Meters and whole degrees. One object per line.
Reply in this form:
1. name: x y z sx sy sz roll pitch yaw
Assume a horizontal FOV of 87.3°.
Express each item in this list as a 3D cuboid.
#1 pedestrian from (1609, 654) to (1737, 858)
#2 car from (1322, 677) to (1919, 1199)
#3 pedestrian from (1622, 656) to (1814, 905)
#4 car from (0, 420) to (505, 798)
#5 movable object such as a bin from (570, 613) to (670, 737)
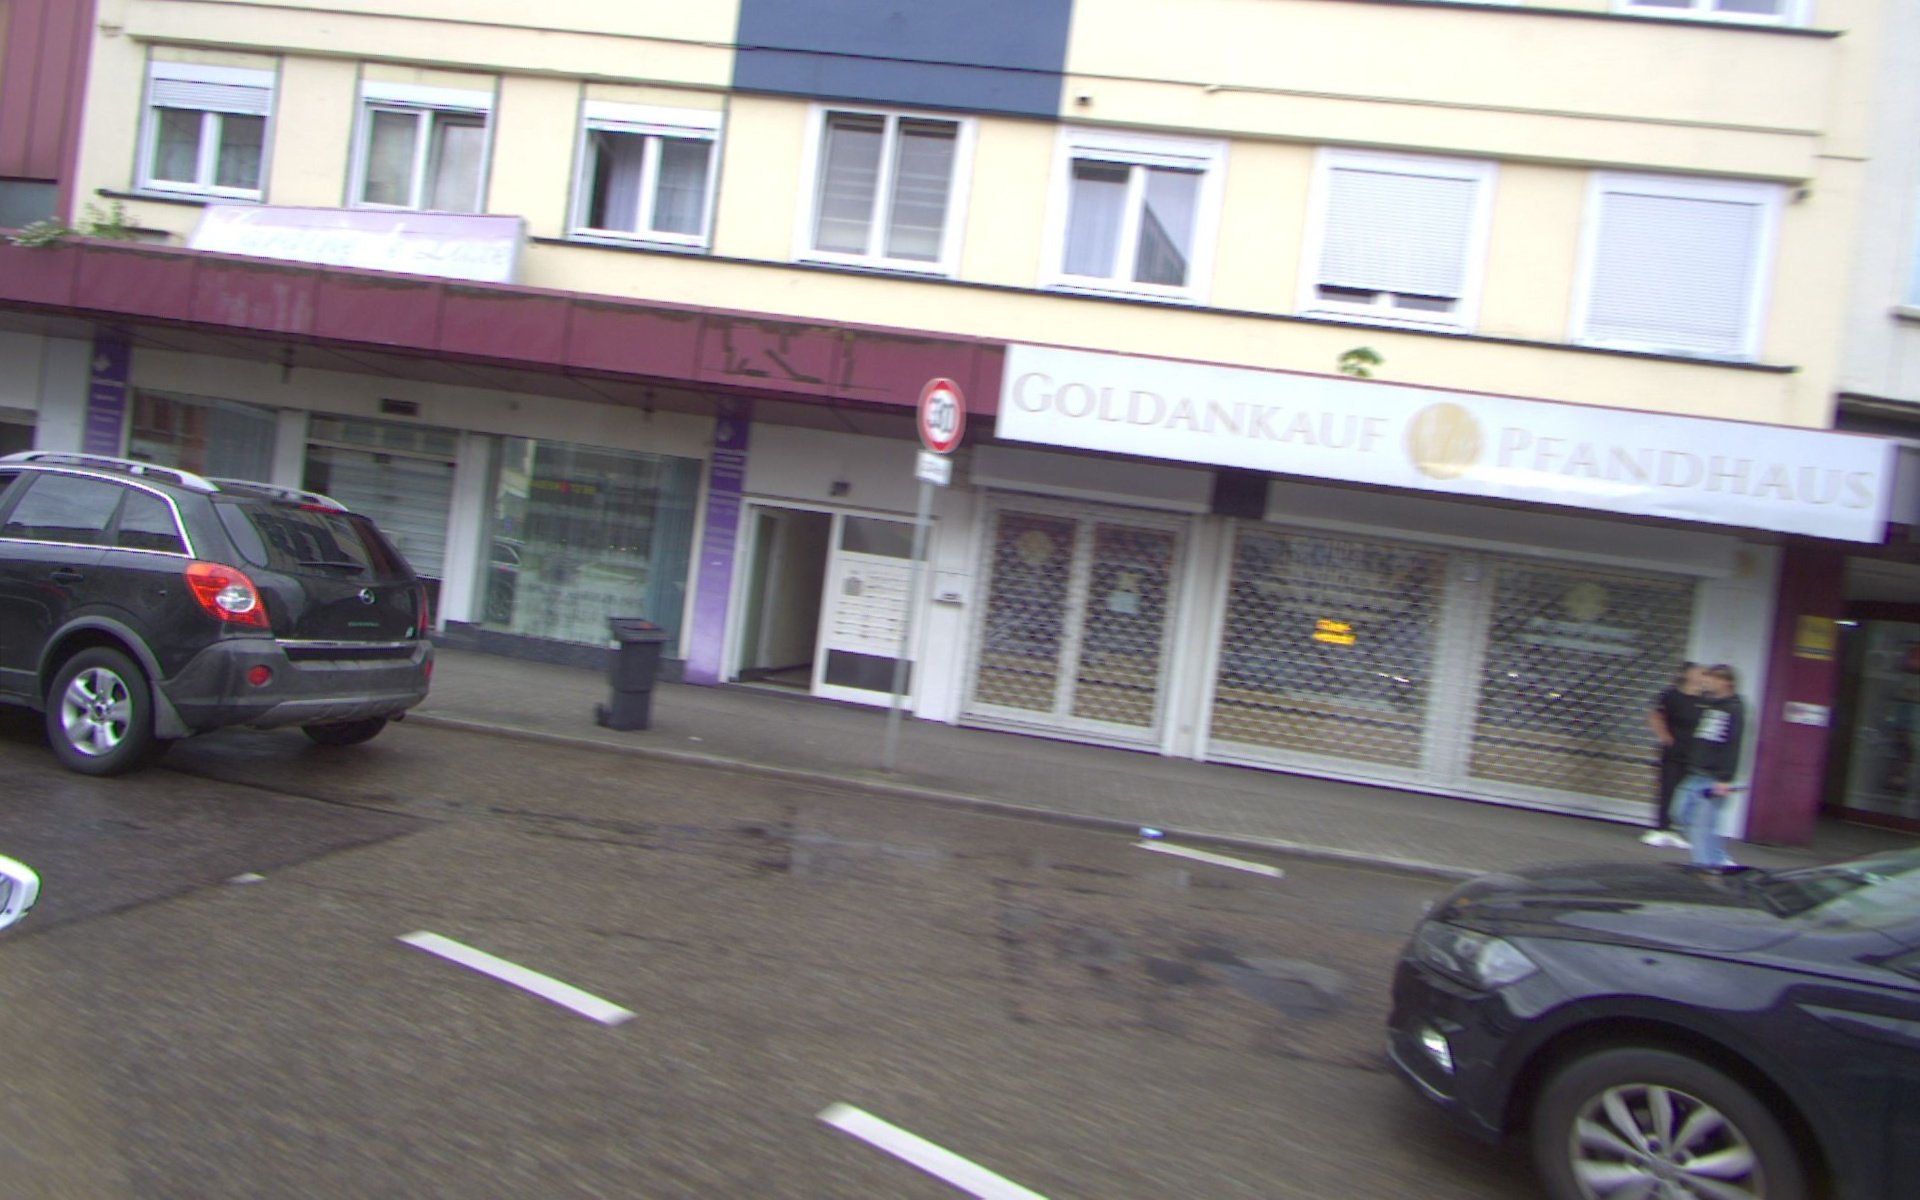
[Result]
1. pedestrian: 6.836 1.470 9.681 0.775 1.783 0.617 7 -1 30
2. car: 3.222 1.240 2.653 3.819 1.447 1.740 7 -2 36
3. pedestrian: 6.122 1.425 8.184 0.606 1.788 0.837 9 4 1
4. car: -5.556 -0.093 6.564 4.219 1.807 1.915 7 -1 11
5. movable object such as a bin: -2.959 0.636 8.751 0.528 0.947 0.663 2 6 -45
